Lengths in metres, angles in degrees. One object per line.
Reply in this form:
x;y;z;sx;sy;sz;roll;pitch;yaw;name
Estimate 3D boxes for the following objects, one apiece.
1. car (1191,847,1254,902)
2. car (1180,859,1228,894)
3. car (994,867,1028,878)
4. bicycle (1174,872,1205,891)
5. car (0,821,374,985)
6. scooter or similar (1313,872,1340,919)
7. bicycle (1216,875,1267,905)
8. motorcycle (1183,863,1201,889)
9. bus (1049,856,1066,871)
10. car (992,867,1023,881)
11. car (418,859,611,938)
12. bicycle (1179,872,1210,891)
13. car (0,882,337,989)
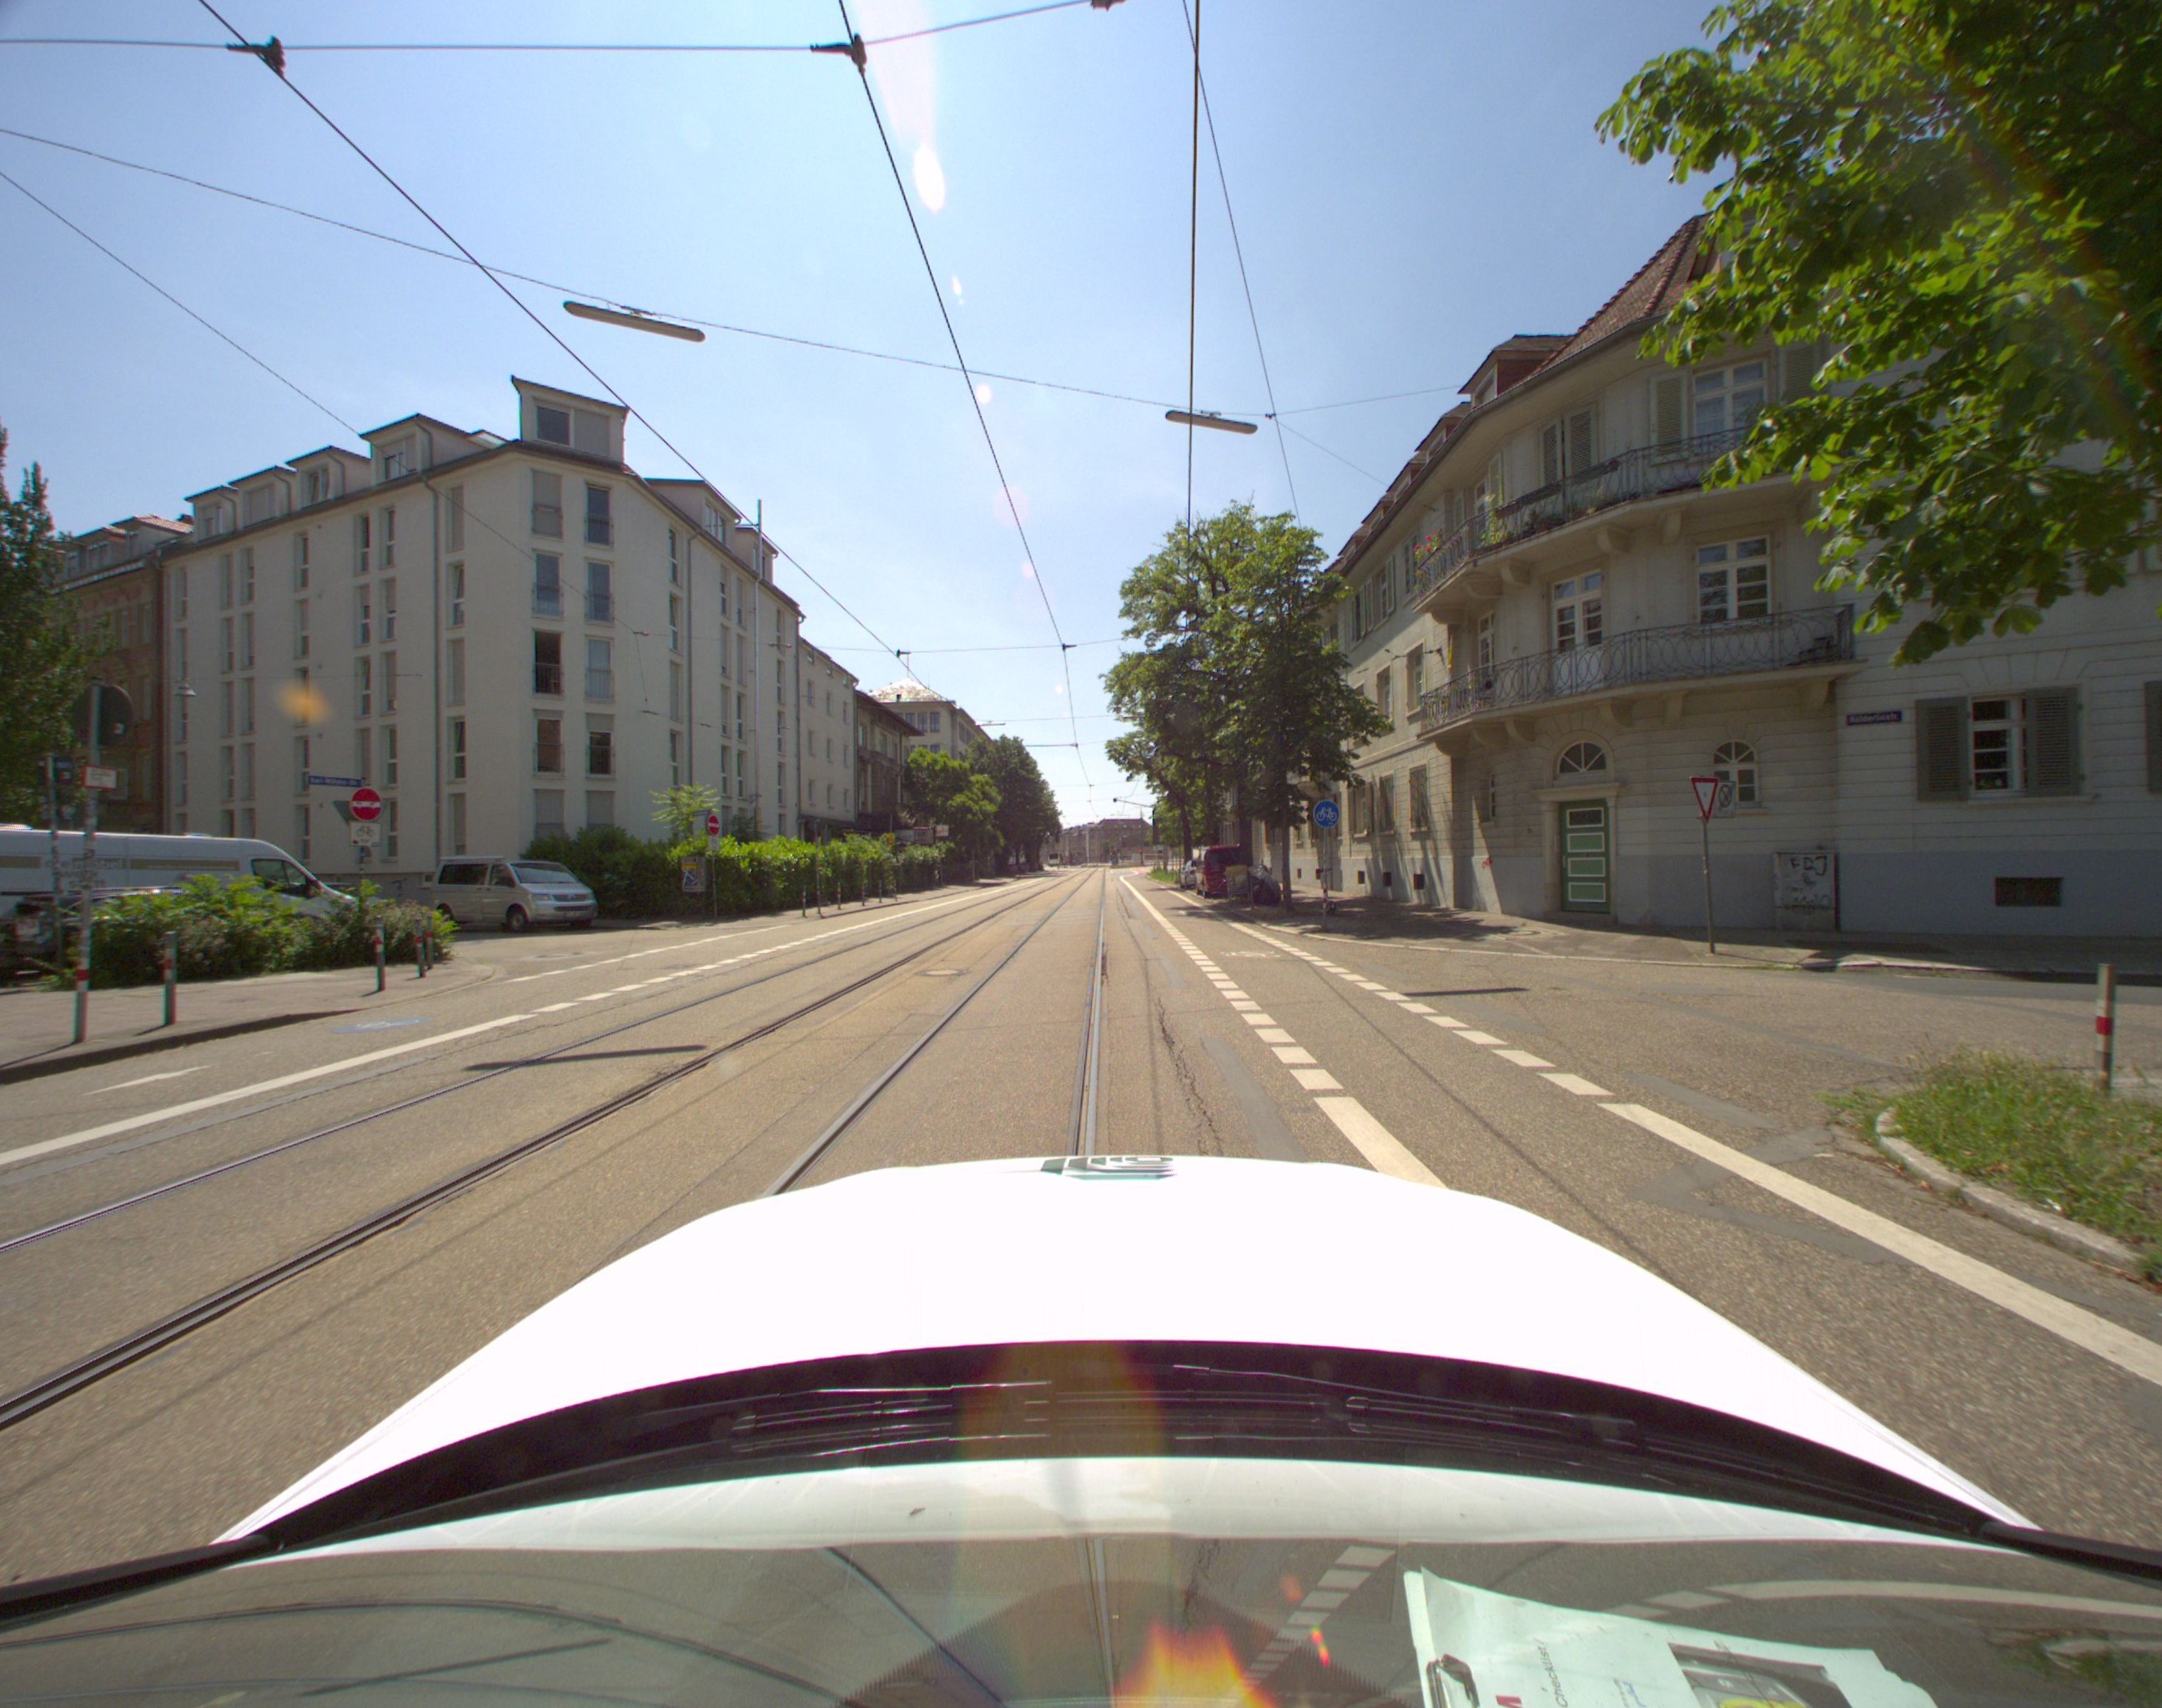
5.589;0.801;32.801;1.852;2.014;4.978;-1;-1;2;car
6.055;1.141;40.490;1.852;1.577;4.880;-1;-2;3;car
-8.777;2.335;102.630;3.939;1.374;1.656;-1;-1;-24;car
6.011;1.528;45.287;1.651;1.016;0.371;-1;-3;2;bicycle
-17.338;0.805;15.018;2.101;2.590;6.221;-1;-1;21;car
6.243;1.037;20.741;0.294;1.161;1.252;-1;-1;1;scooter or similar
5.641;1.261;28.651;1.693;1.022;0.364;-2;-2;-5;bicycle
6.639;1.294;48.613;0.740;1.506;2.567;-1;-1;13;motorcycle
-5.520;2.392;194.021;2.999;3.158;17.500;0;-2;2;bus
-8.620;2.348;95.331;3.357;1.516;1.656;1;-2;-24;car
-15.511;1.166;22.320;4.649;1.985;2.168;-1;-1;22;car
6.210;1.507;44.723;1.651;1.016;0.372;-1;-1;2;bicycle
-14.987;1.210;13.373;1.577;1.439;3.774;-1;-1;17;car
